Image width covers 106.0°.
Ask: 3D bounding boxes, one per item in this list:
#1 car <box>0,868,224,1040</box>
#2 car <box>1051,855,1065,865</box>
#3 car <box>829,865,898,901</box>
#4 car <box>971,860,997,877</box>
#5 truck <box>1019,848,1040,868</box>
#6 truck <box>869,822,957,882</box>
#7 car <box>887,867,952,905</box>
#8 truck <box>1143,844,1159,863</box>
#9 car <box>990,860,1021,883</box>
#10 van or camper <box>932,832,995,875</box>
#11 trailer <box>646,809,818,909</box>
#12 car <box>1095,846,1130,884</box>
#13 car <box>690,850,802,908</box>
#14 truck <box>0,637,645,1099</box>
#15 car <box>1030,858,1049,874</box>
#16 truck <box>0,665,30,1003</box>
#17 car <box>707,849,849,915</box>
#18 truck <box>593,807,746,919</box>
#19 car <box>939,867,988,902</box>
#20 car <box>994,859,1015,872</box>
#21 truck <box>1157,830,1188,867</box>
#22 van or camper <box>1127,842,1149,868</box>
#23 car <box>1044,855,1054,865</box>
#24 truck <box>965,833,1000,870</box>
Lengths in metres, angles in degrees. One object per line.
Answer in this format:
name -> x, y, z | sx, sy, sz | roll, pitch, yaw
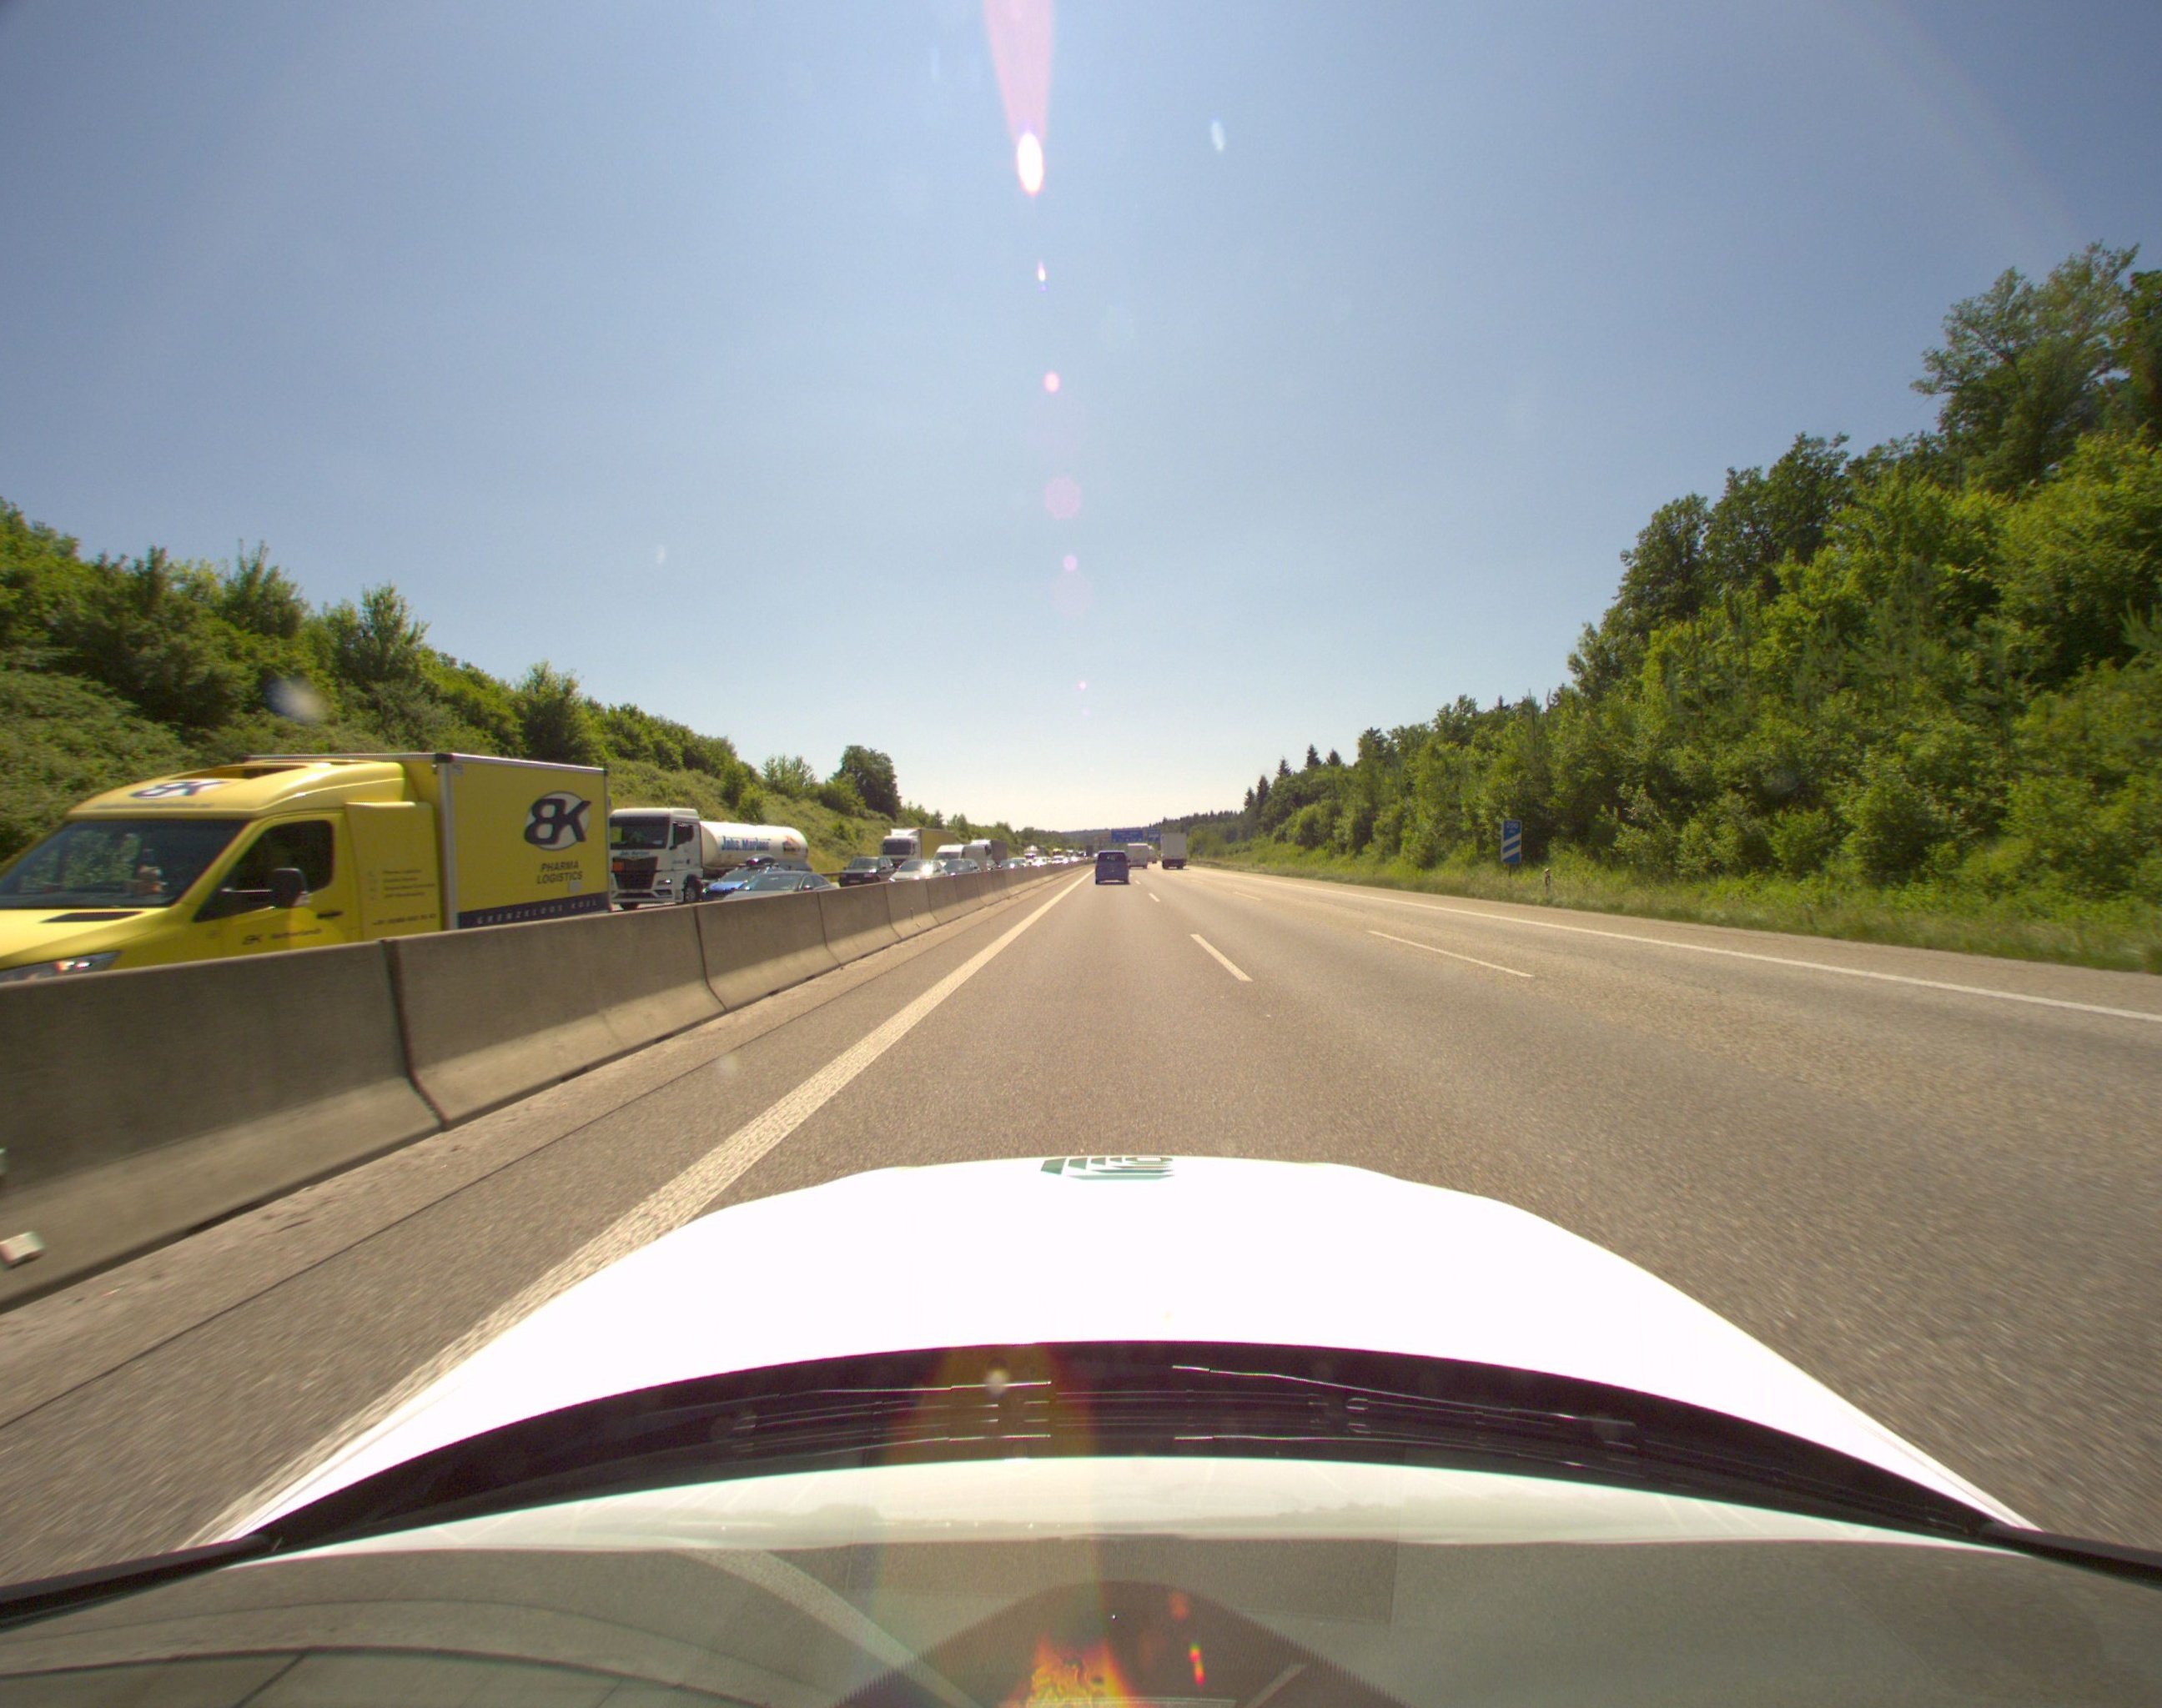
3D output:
car -> -11.996, 1.027, 7.978 | 1.821, 1.764, 4.992 | 0, -1, 1
car -> -3.507, 0.917, 123.151 | 1.821, 1.565, 5.112 | 0, -1, 1
car -> -10.931, 1.421, 41.249 | 1.989, 1.728, 4.762 | 0, -1, 3
car -> -9.395, 1.400, 79.307 | 1.821, 1.565, 4.524 | 0, -1, 1
truck -> -7.711, 0.594, 121.862 | 2.559, 2.845, 6.754 | 0, -1, 1
truck -> -13.818, -0.064, 69.121 | 3.683, 4.456, 16.677 | 0, -1, 1
car -> -6.779, 1.301, 34.704 | 1.822, 1.497, 4.758 | 0, -1, 0
truck -> 14.571, -0.138, 169.312 | 2.915, 3.575, 8.534 | -2, 0, 3
car -> -5.987, 1.392, 65.040 | 1.821, 1.764, 4.992 | 0, -1, 1
van or camper -> -7.987, 0.014, 56.094 | 2.238, 2.775, 7.235 | 0, -1, 9
trailer -> -14.806, 0.192, 35.841 | 2.600, 3.733, 10.686 | 0, 0, 2
car -> 1.794, 0.571, 46.599 | 1.902, 2.013, 4.002 | -1, 1, 2
car -> -11.165, 0.800, 27.594 | 1.822, 1.764, 4.988 | 0, -1, -1
truck -> -7.807, 0.141, 8.746 | 2.258, 3.017, 6.782 | 0, -1, 3
car -> -4.682, 1.390, 92.556 | 1.821, 1.764, 4.992 | 0, -1, 1
truck -> -16.352, -0.375, 2.331 | 3.682, 4.456, 17.387 | 0, -1, 2
car -> -7.532, 0.670, 20.796 | 1.822, 1.497, 4.758 | 0, -1, 0
truck -> -14.961, 0.345, 30.160 | 2.670, 3.743, 5.871 | 0, -1, 0
car -> -6.413, 1.638, 44.977 | 1.821, 1.764, 4.992 | 0, -1, 1
car -> -8.841, 1.315, 94.101 | 1.821, 1.493, 4.992 | -1, 0, 1
truck -> 10.583, -0.520, 95.097 | 2.773, 4.128, 9.741 | 0, -1, 1
van or camper -> 6.902, 0.058, 99.516 | 2.592, 3.078, 7.188 | 0, 1, 3
car -> -5.884, 1.136, 149.471 | 1.565, 1.731, 3.886 | 0, -1, 2
truck -> -12.338, -0.262, 102.679 | 2.929, 4.516, 8.612 | 0, -1, 3
